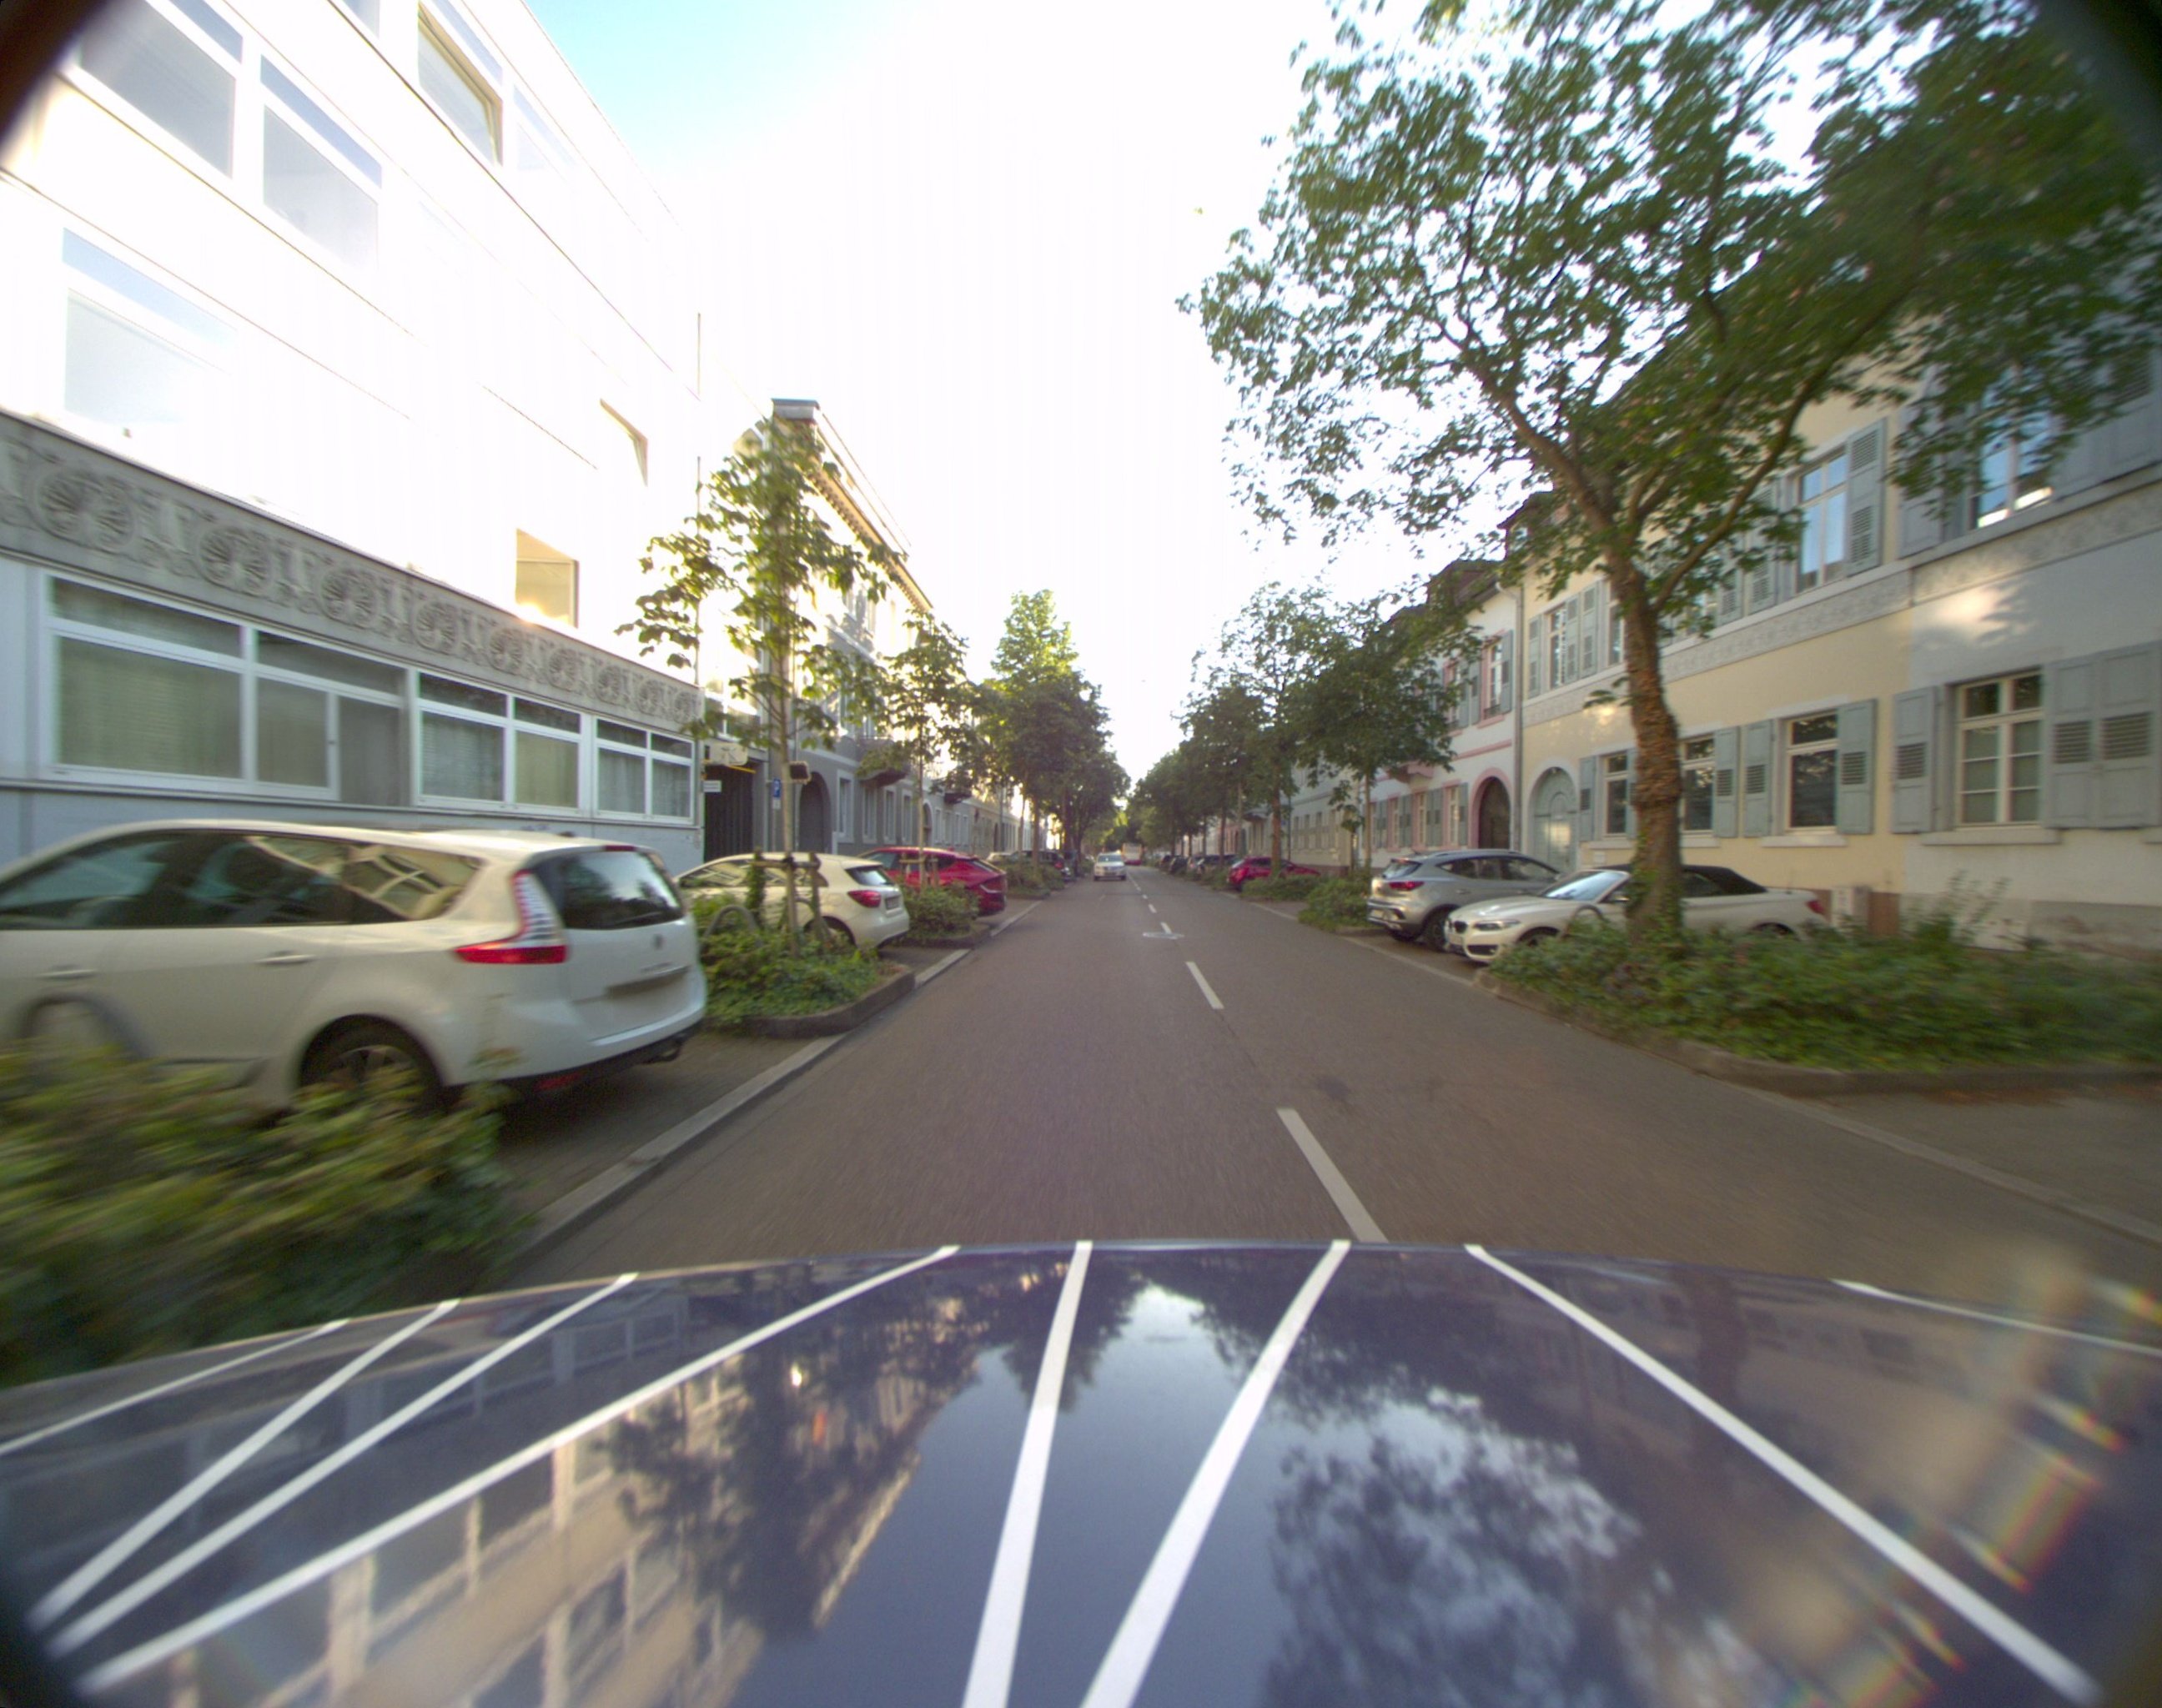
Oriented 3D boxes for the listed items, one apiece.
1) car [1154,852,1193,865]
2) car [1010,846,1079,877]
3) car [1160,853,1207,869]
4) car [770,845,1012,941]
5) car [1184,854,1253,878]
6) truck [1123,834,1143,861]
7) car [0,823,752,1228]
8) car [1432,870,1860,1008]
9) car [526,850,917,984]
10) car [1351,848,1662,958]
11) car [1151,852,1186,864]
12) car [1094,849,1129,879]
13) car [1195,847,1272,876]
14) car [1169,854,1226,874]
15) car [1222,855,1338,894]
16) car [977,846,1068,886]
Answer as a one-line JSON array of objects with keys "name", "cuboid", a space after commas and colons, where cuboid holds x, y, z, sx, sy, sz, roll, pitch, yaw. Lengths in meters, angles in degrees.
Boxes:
[{"name": "car", "cuboid": [10.570, 0.520, 87.122, 4.230, 1.468, 1.969, 1, 1, 0]}, {"name": "car", "cuboid": [-2.362, 0.465, 49.856, 4.368, 1.862, 1.733, 2, 1, 0]}, {"name": "car", "cuboid": [9.797, 0.626, 73.144, 4.230, 1.468, 1.969, 1, 1, 0]}, {"name": "car", "cuboid": [-3.694, 0.732, 15.316, 4.368, 1.615, 1.733, 3, 1, 0]}, {"name": "car", "cuboid": [8.979, 0.767, 49.875, 4.230, 1.509, 1.759, 1, 1, 0]}, {"name": "truck", "cuboid": [7.416, -0.868, 109.136, 2.747, 3.723, 7.856, 1, 0, 4]}, {"name": "car", "cuboid": [-4.583, 0.738, 4.416, 4.368, 1.633, 2.054, 3, 1, 0]}, {"name": "car", "cuboid": [7.211, 1.034, 10.113, 4.227, 1.536, 1.801, 1, 1, 5]}, {"name": "car", "cuboid": [-4.653, 0.773, 10.340, 4.368, 1.485, 1.887, 2, 1, 0]}, {"name": "car", "cuboid": [7.017, 0.770, 12.856, 4.230, 1.680, 1.801, 1, 1, 0]}, {"name": "car", "cuboid": [11.011, 0.486, 95.598, 4.230, 1.508, 1.969, 1, 1, 0]}, {"name": "car", "cuboid": [1.825, 0.561, 44.982, 1.956, 1.667, 4.543, 1, 0, 3]}, {"name": "car", "cuboid": [9.014, 0.449, 45.208, 4.230, 1.654, 1.801, 1, 1, 0]}, {"name": "car", "cuboid": [9.245, 0.802, 60.683, 4.230, 1.468, 1.854, 1, 1, 0]}, {"name": "car", "cuboid": [8.058, 0.807, 31.016, 4.230, 1.499, 1.801, 1, 1, 0]}, {"name": "car", "cuboid": [-2.899, 0.569, 38.228, 4.368, 1.768, 1.733, 3, 1, 0]}]
